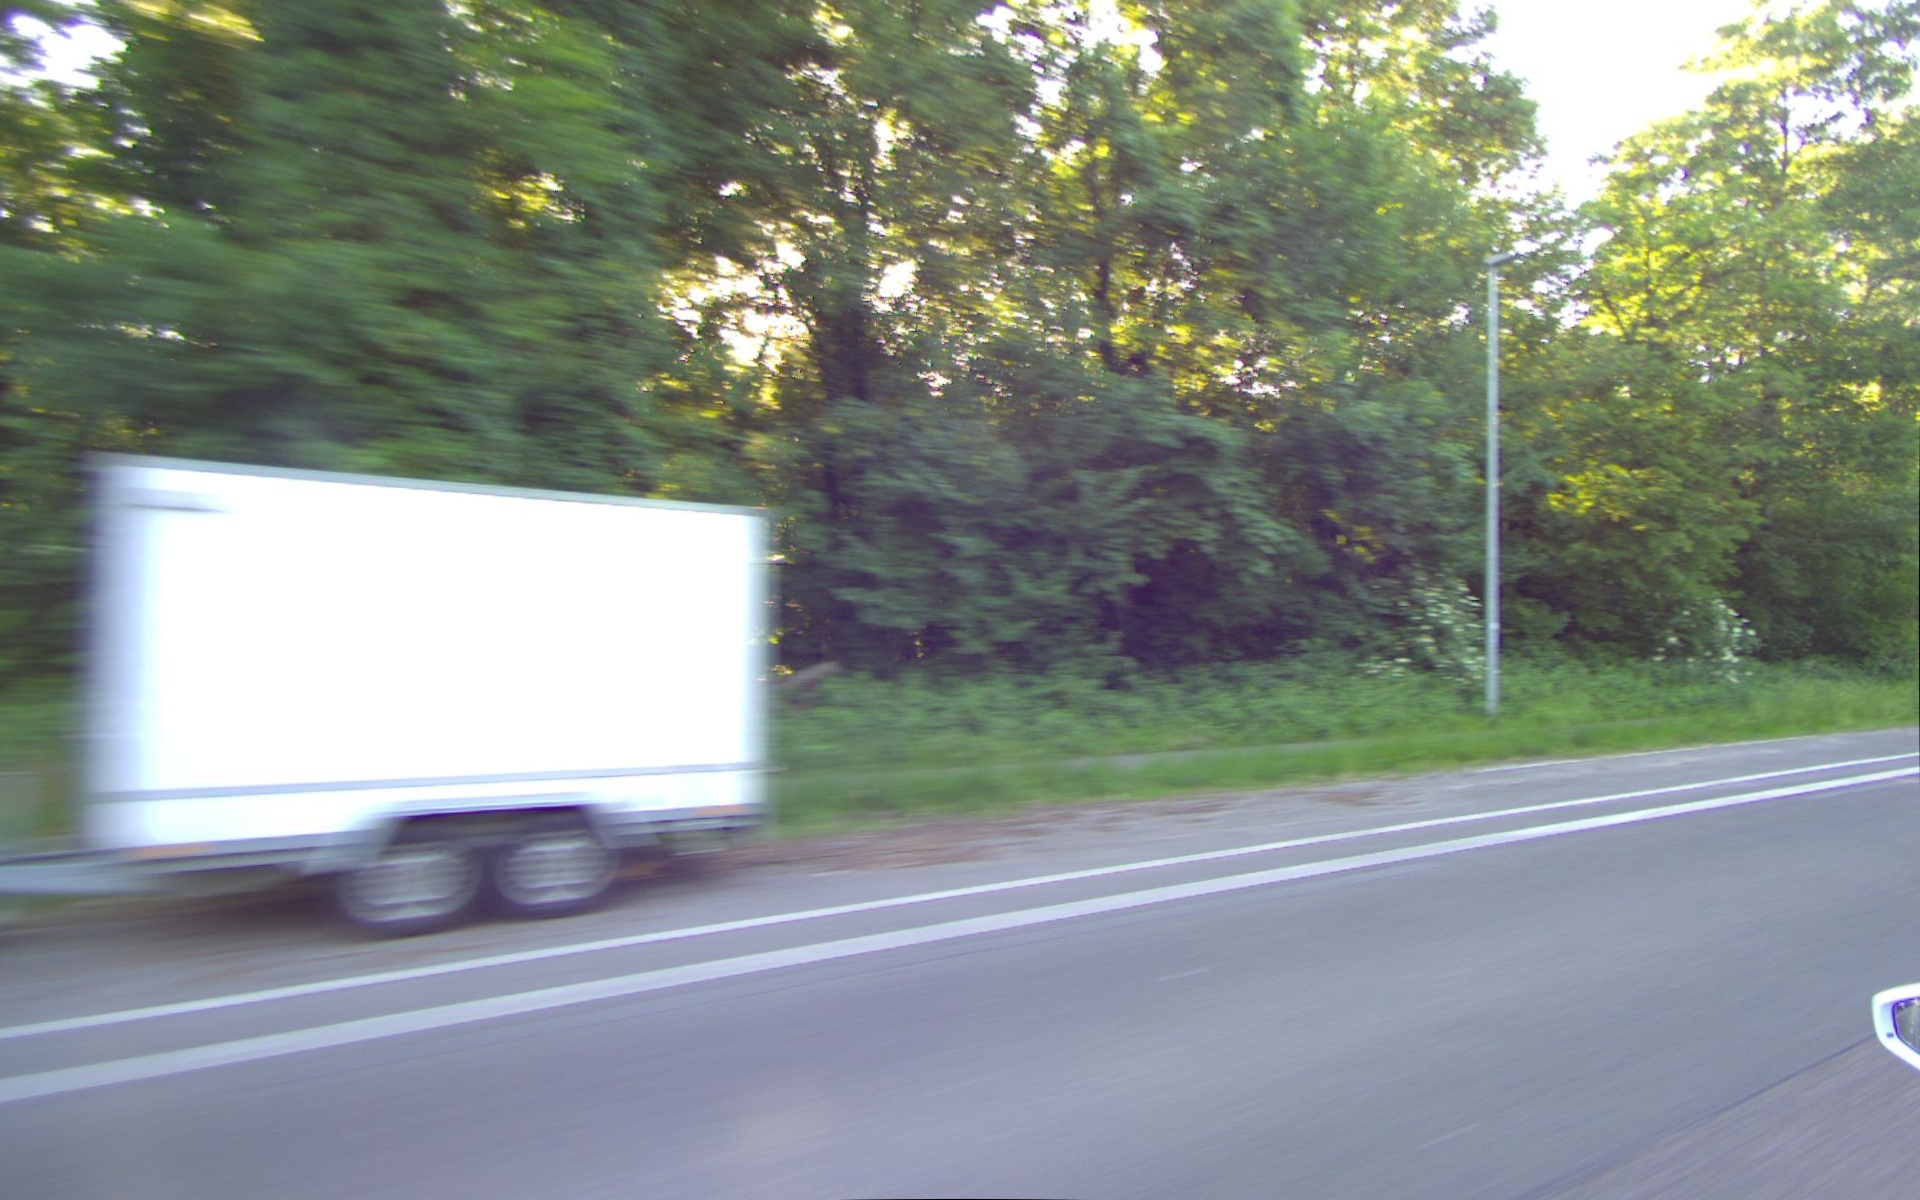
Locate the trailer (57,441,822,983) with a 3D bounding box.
[{"bbox_3d":[-2.819,0.541,6.061,3.443,2.323,2.067,1,-2,-28],"label":"trailer"}]
